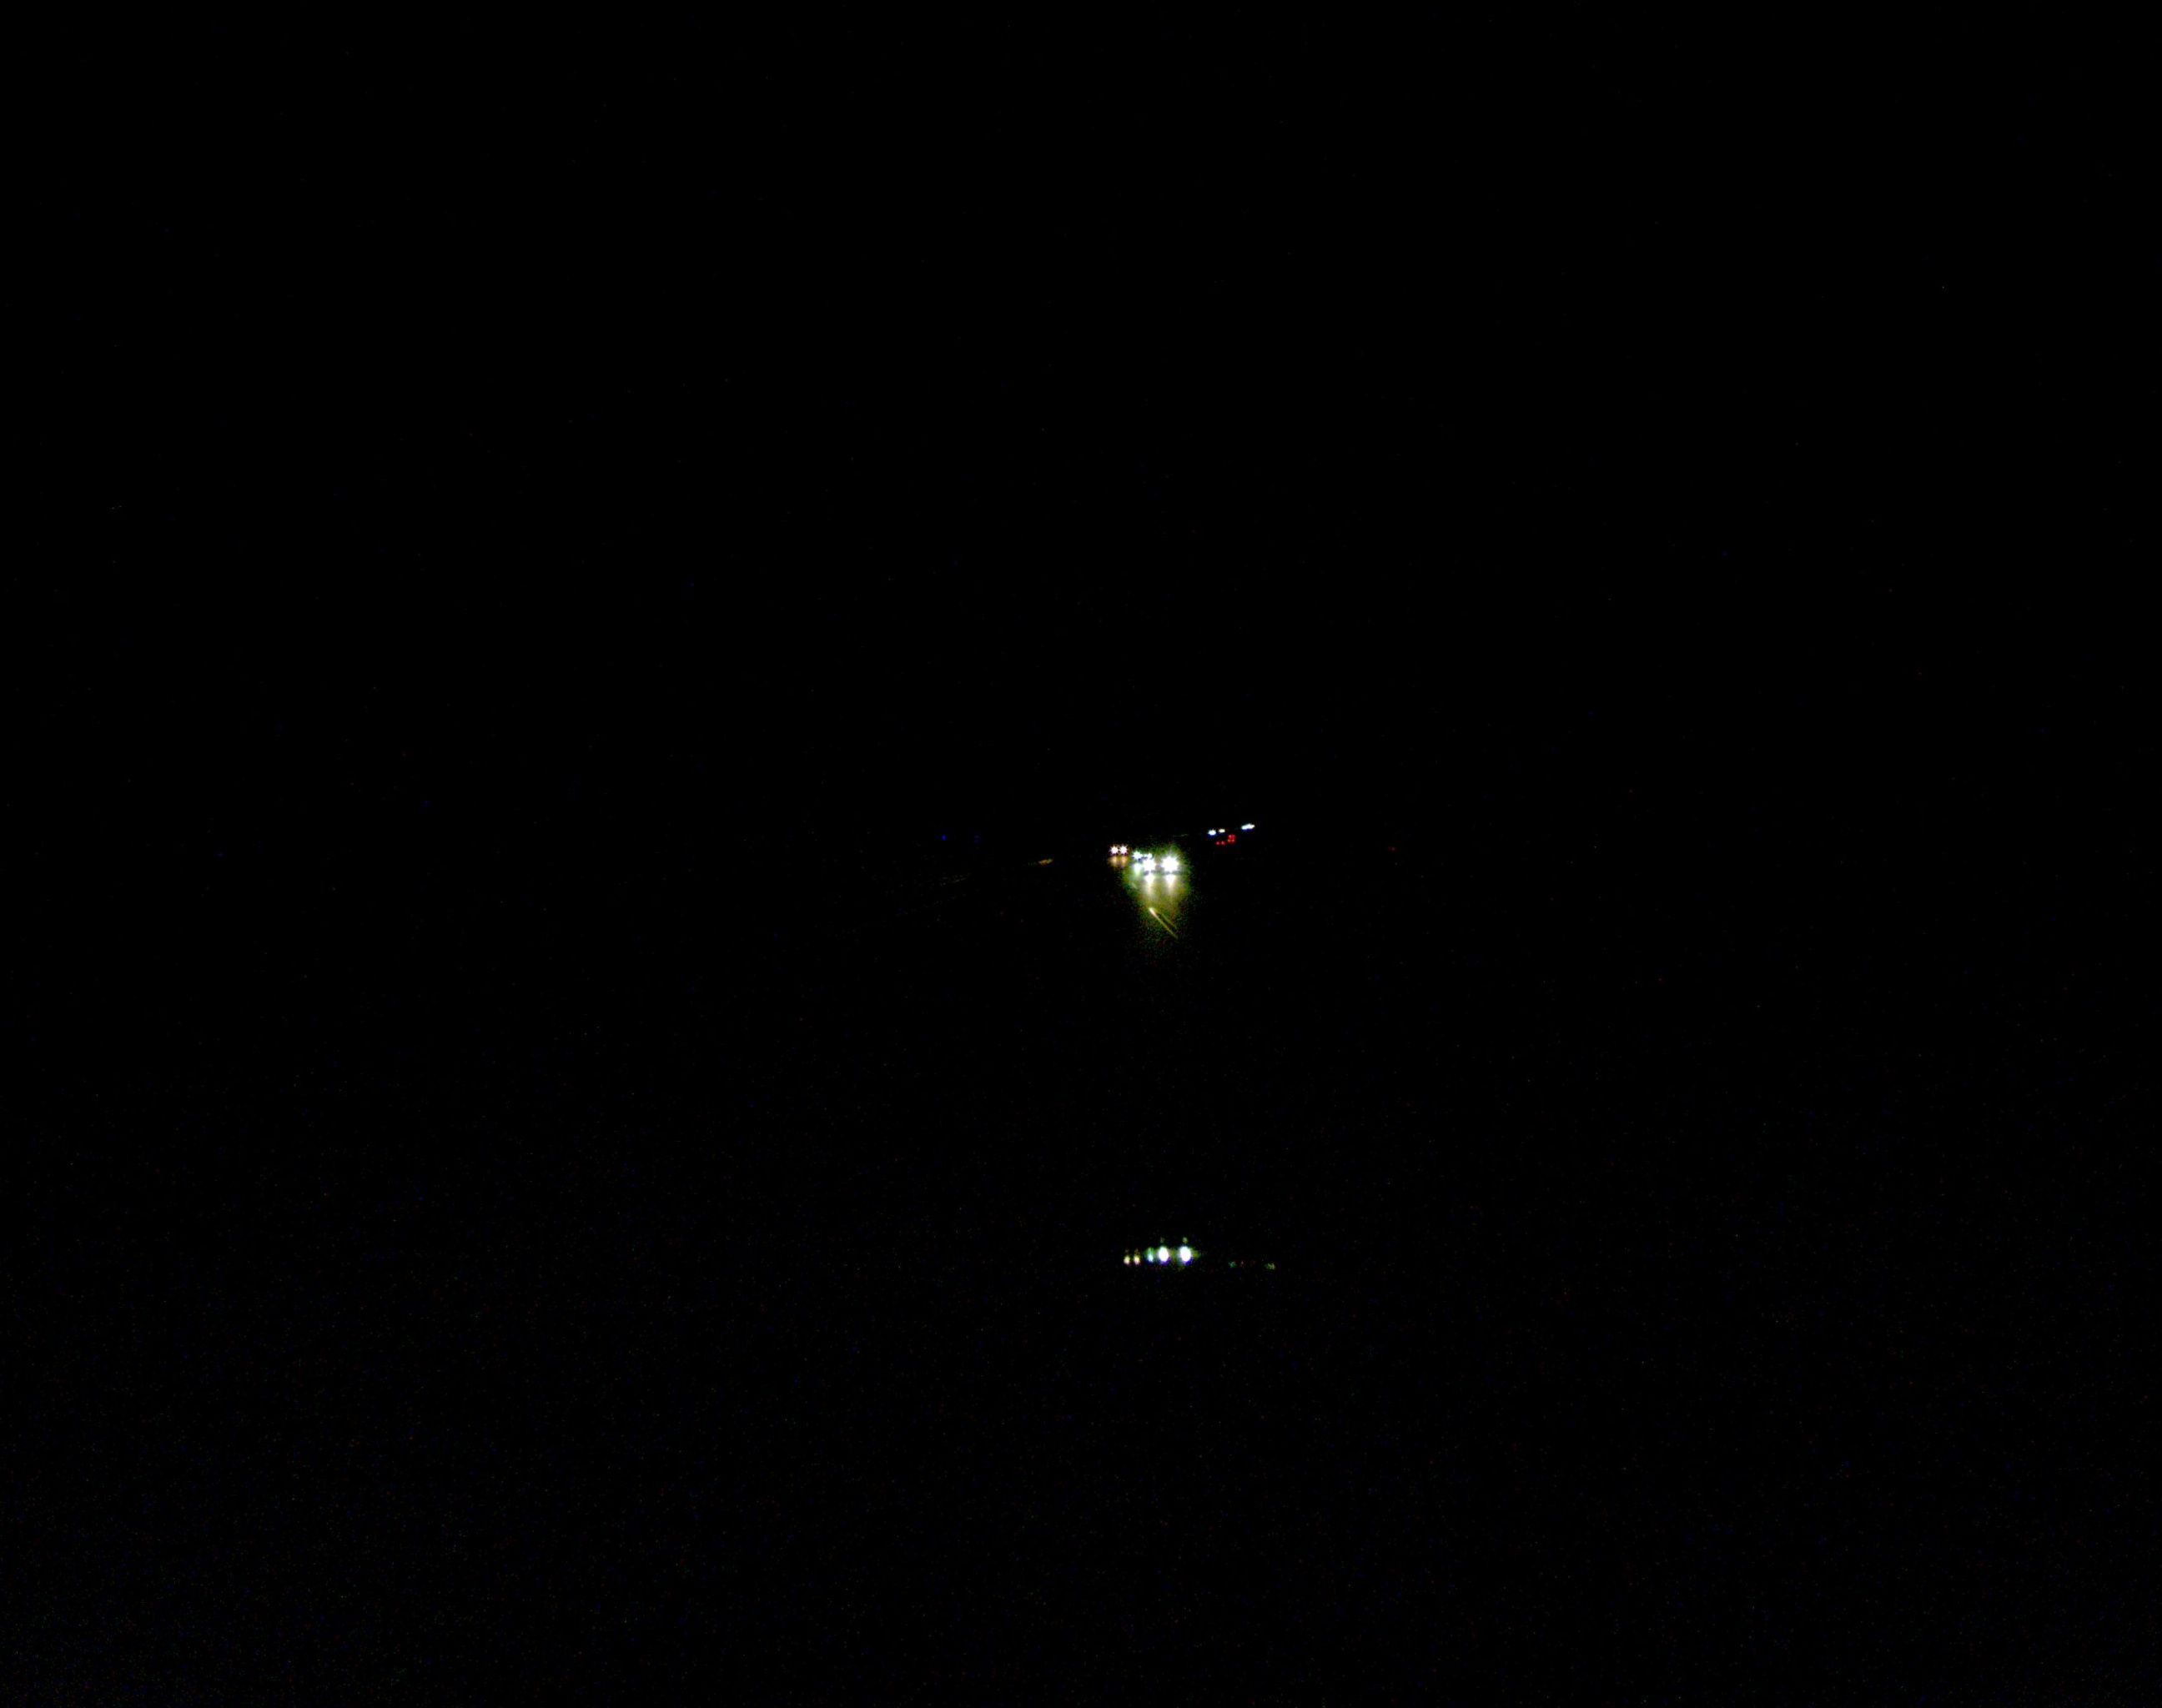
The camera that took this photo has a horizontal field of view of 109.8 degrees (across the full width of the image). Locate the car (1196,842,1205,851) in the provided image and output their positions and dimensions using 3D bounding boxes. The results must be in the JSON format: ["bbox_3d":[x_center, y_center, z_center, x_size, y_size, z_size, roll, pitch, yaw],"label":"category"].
[{"bbox_3d":[24.151,-1.567,153.756,1.539,1.589,4.000,-3,2,7],"label":"car"}]

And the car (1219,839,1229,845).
[{"bbox_3d":[35.364,-3.049,188.552,1.998,1.499,4.001,-2,1,5],"label":"car"}]

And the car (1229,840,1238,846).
[{"bbox_3d":[42.017,-2.976,208.996,1.998,1.499,4.001,-2,1,5],"label":"car"}]

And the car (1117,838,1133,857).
[{"bbox_3d":[7.557,-1.105,128.819,2.533,2.889,6.227,-3,2,4],"label":"car"}]

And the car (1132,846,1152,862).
[{"bbox_3d":[6.726,-0.013,84.013,1.998,1.456,4.000,-3,2,4],"label":"car"}]

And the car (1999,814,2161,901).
[{"bbox_3d":[24.317,0.036,16.891,2.403,1.865,4.512,-1,0,0],"label":"car"}]

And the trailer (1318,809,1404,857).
[{"bbox_3d":[26.436,-1.896,72.779,3.607,4.066,14.125,-1,1,3],"label":"trailer"}]

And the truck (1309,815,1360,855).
[{"bbox_3d":[26.825,-1.964,80.708,3.598,4.076,5.994,-2,1,2],"label":"truck"}]

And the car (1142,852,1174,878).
[{"bbox_3d":[4.855,0.669,47.883,1.832,1.404,4.000,-3,2,6],"label":"car"}]
